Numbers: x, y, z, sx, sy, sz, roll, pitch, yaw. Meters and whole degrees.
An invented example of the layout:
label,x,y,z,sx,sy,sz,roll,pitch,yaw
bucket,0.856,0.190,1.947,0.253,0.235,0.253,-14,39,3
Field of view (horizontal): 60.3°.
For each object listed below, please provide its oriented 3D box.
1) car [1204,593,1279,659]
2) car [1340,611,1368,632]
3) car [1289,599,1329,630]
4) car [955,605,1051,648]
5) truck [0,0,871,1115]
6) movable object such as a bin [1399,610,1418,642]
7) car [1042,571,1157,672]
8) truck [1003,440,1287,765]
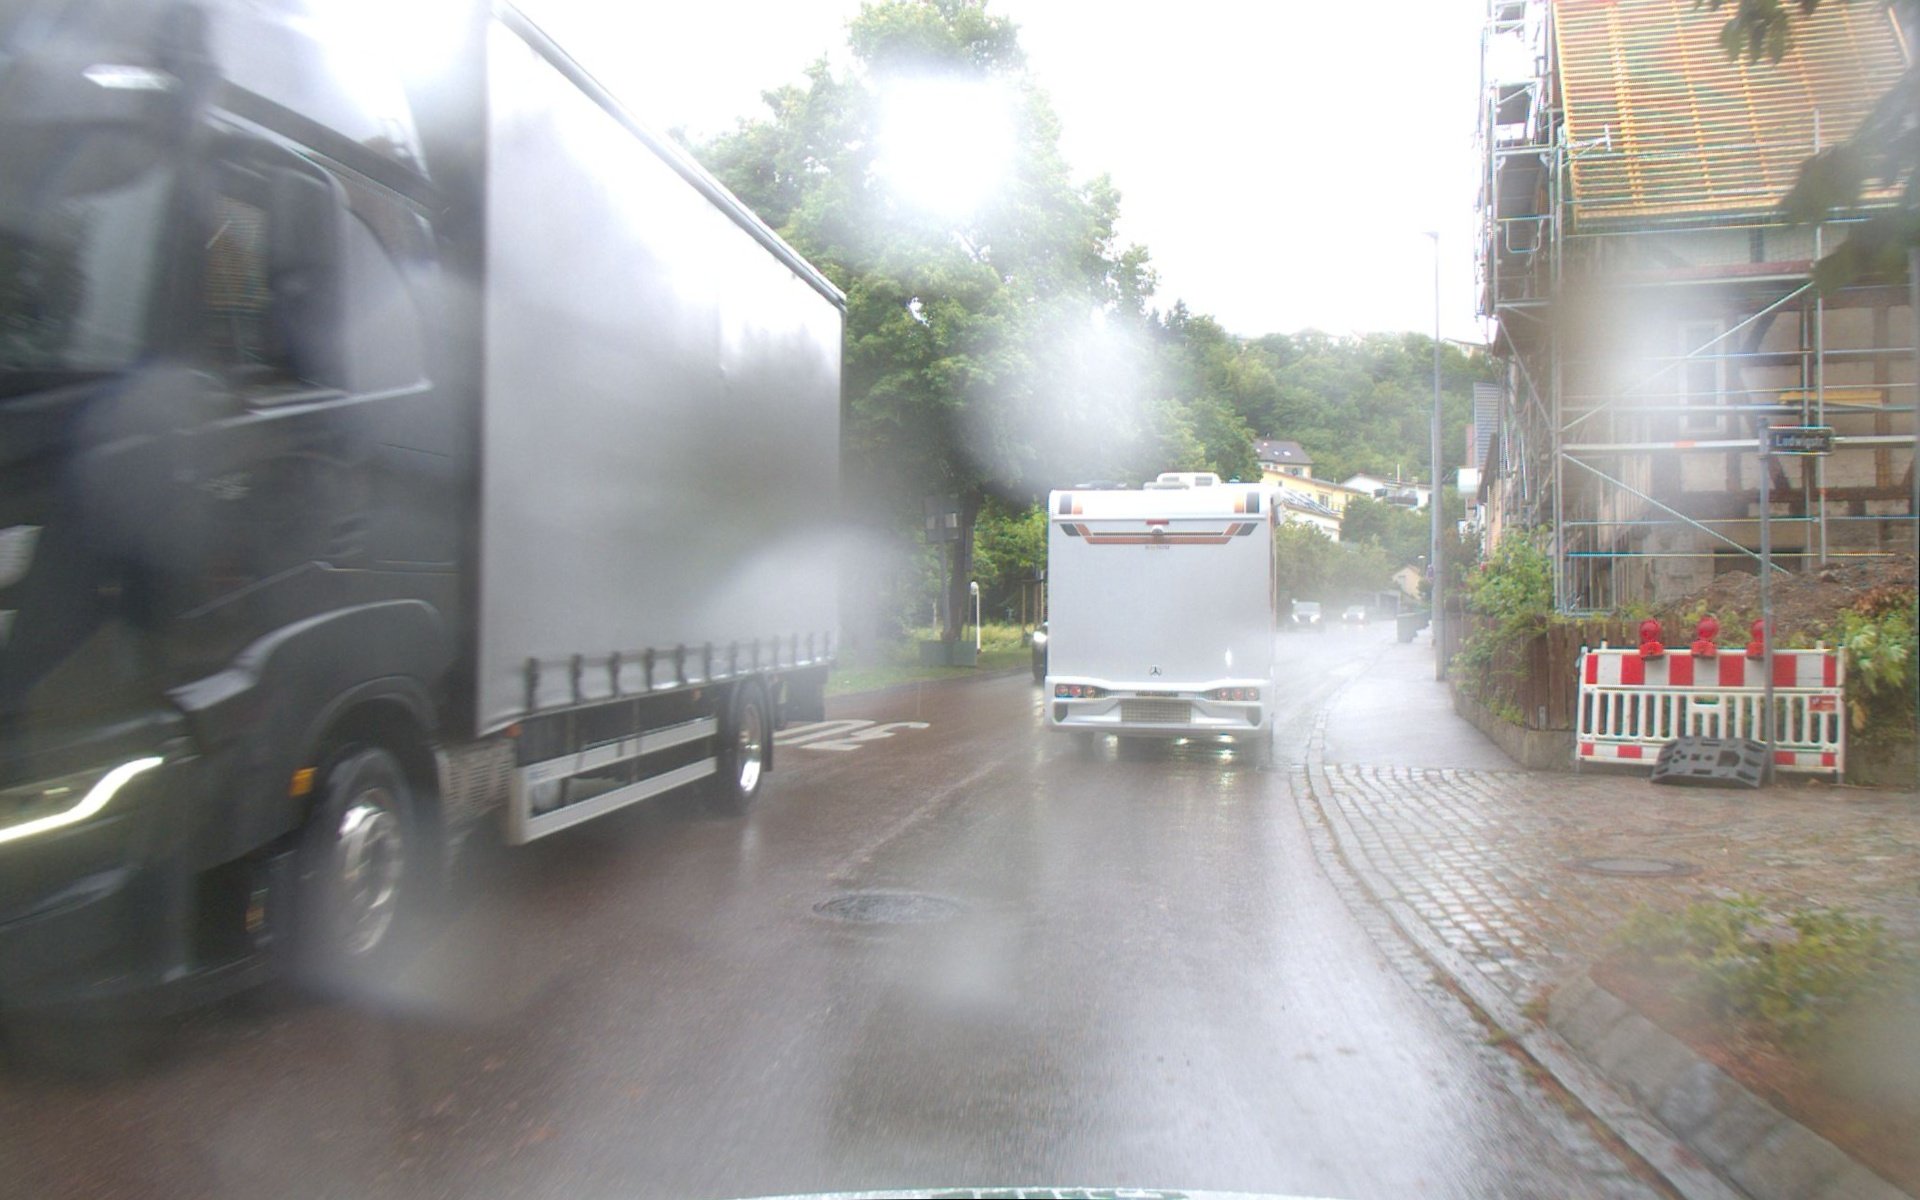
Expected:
label,x,y,z,sx,sy,sz,roll,pitch,yaw
car,8.784,0.827,51.391,1.951,1.928,4.003,1,-1,14
car,30.779,1.677,129.202,1.643,1.596,3.570,1,-1,20
car,19.341,0.815,91.588,1.643,1.596,3.570,1,-1,20
car,1.881,1.172,72.970,3.915,1.793,1.995,1,-1,-11
truck,-2.879,-0.697,9.720,2.777,4.239,9.984,1,0,8
movable object such as a bin,17.402,1.005,64.171,0.709,1.223,0.730,-1,0,14
car,2.945,0.442,34.130,1.951,1.928,4.003,1,-1,10
truck,2.314,0.010,18.784,2.637,3.038,6.242,1,0,11
